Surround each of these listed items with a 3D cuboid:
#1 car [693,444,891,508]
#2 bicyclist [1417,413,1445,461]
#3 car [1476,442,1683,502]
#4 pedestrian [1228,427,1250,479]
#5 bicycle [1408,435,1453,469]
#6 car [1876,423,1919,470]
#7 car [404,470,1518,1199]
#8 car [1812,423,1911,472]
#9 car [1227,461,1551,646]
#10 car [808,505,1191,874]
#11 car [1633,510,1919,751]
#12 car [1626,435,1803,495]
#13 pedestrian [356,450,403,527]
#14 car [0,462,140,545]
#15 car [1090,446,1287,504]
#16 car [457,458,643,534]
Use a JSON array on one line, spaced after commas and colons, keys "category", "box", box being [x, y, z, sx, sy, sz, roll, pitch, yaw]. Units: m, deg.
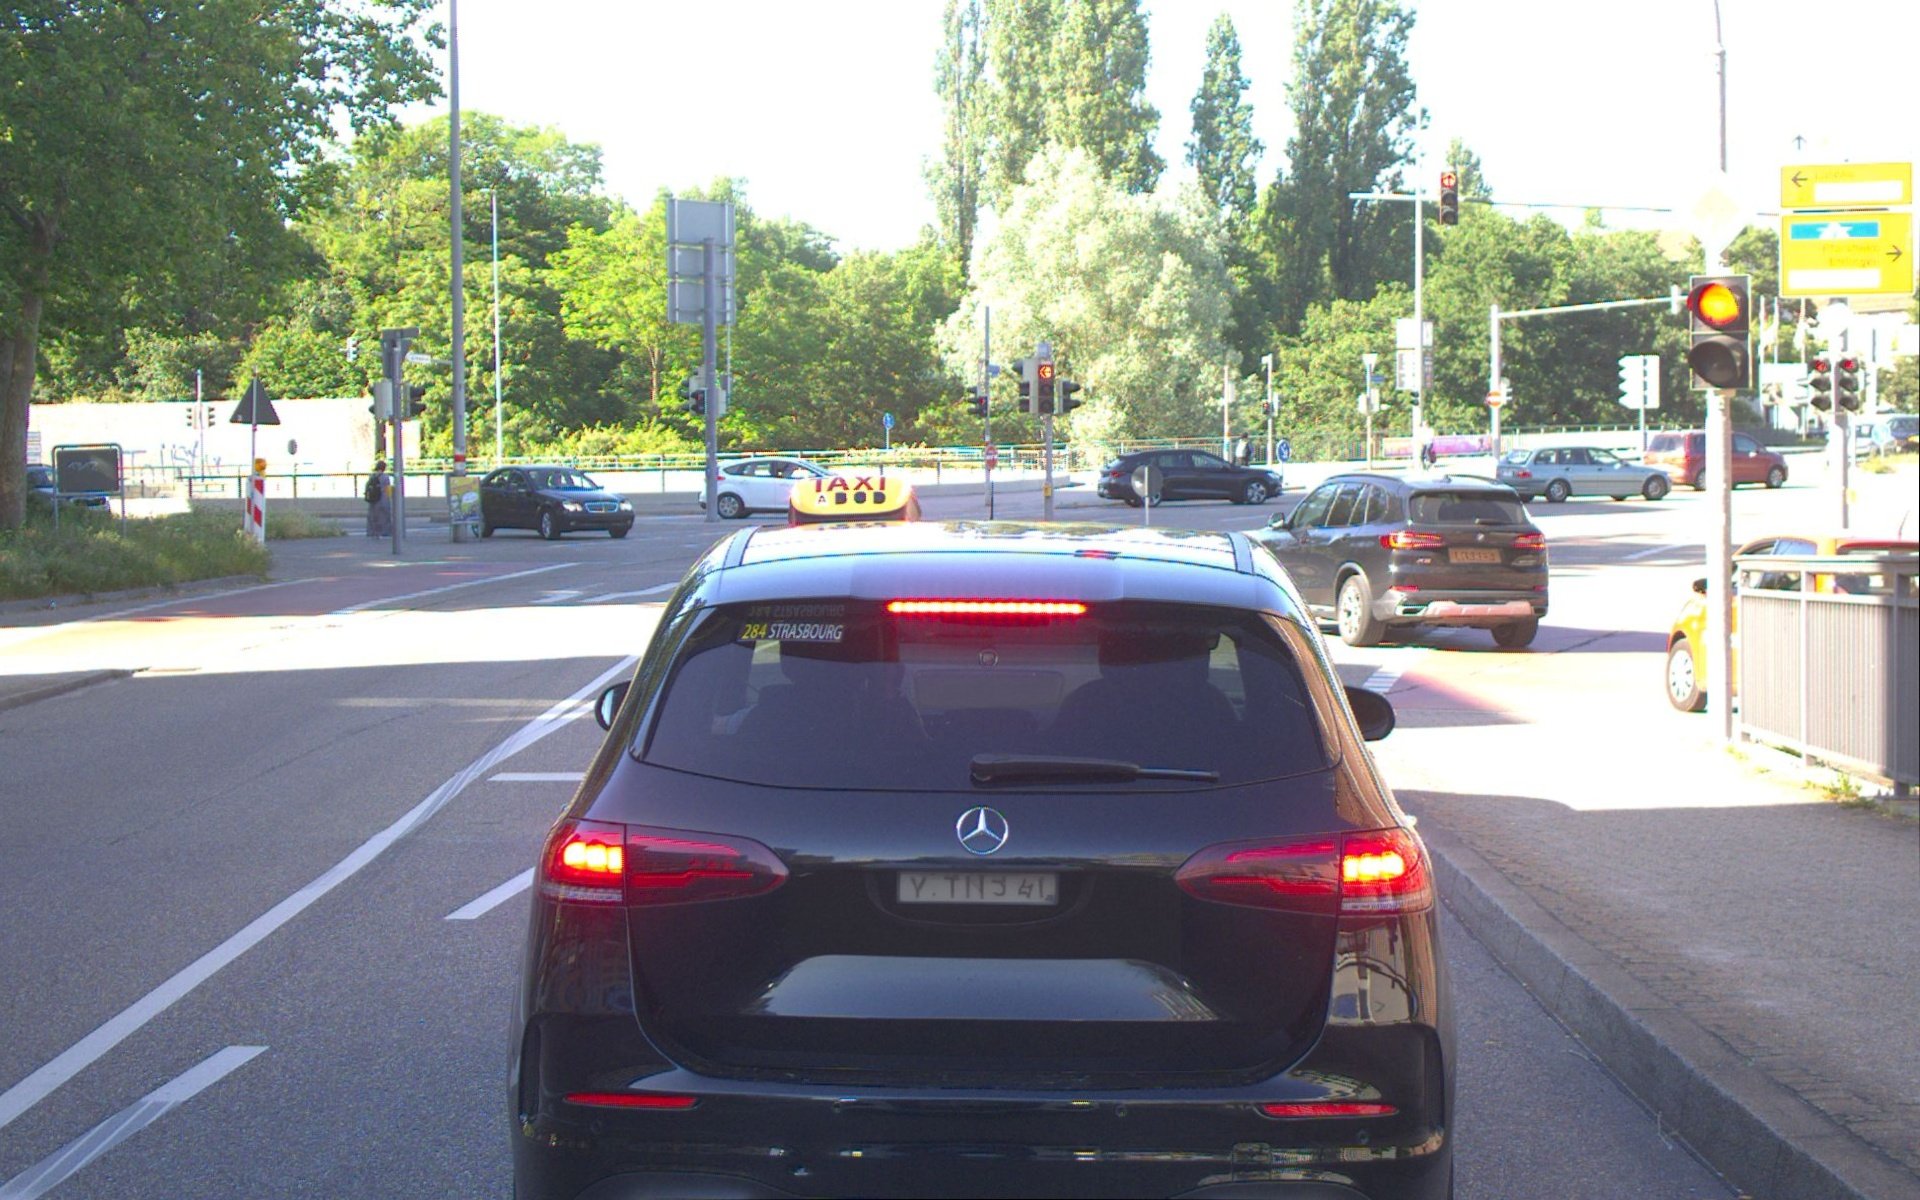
[{"category": "car", "box": [-3.923, -2.910, 80.702, 4.301, 1.360, 2.000, -1, 3, 8]}, {"category": "bicyclist", "box": [15.272, -5.296, 111.517, 0.527, 1.545, 0.805, 0, 3, 37]}, {"category": "car", "box": [14.972, -3.115, 83.089, 4.578, 1.290, 2.001, -3, 4, -23]}, {"category": "pedestrian", "box": [8.593, -4.527, 105.847, 0.451, 1.580, 0.500, 1, 3, 40]}, {"category": "bicycle", "box": [15.274, -4.796, 111.547, 0.527, 1.046, 1.986, 0, 3, 37]}, {"category": "car", "box": [33.568, -5.373, 119.820, 1.882, 1.573, 3.992, 1, 3, 36]}, {"category": "car", "box": [-0.024, 0.541, 7.846, 1.878, 1.608, 4.000, 1, 2, -1]}, {"category": "car", "box": [30.077, -5.108, 114.666, 1.882, 1.573, 3.992, 1, 3, 36]}, {"category": "car", "box": [4.414, -0.517, 36.074, 1.721, 1.806, 4.299, 1, 1, -17]}, {"category": "car", "box": [0.224, 0.346, 16.732, 1.640, 1.524, 3.474, -1, 2, 2]}, {"category": "car", "box": [6.474, 0.163, 25.772, 1.721, 1.516, 3.487, -1, 4, -9]}, {"category": "car", "box": [20.176, -3.632, 91.879, 4.538, 1.450, 2.000, -4, 4, -33]}, {"category": "pedestrian", "box": [-11.473, -2.204, 67.996, 0.705, 1.520, 0.743, 1, 2, 10]}, {"category": "car", "box": [-21.030, -2.234, 78.930, 3.993, 1.617, 1.808, 5, 5, 25]}, {"category": "car", "box": [5.690, -3.125, 85.741, 4.578, 1.290, 1.887, -2, 3, -8]}, {"category": "car", "box": [-8.080, -2.059, 67.467, 1.742, 1.402, 4.200, -3, 3, -37]}]
